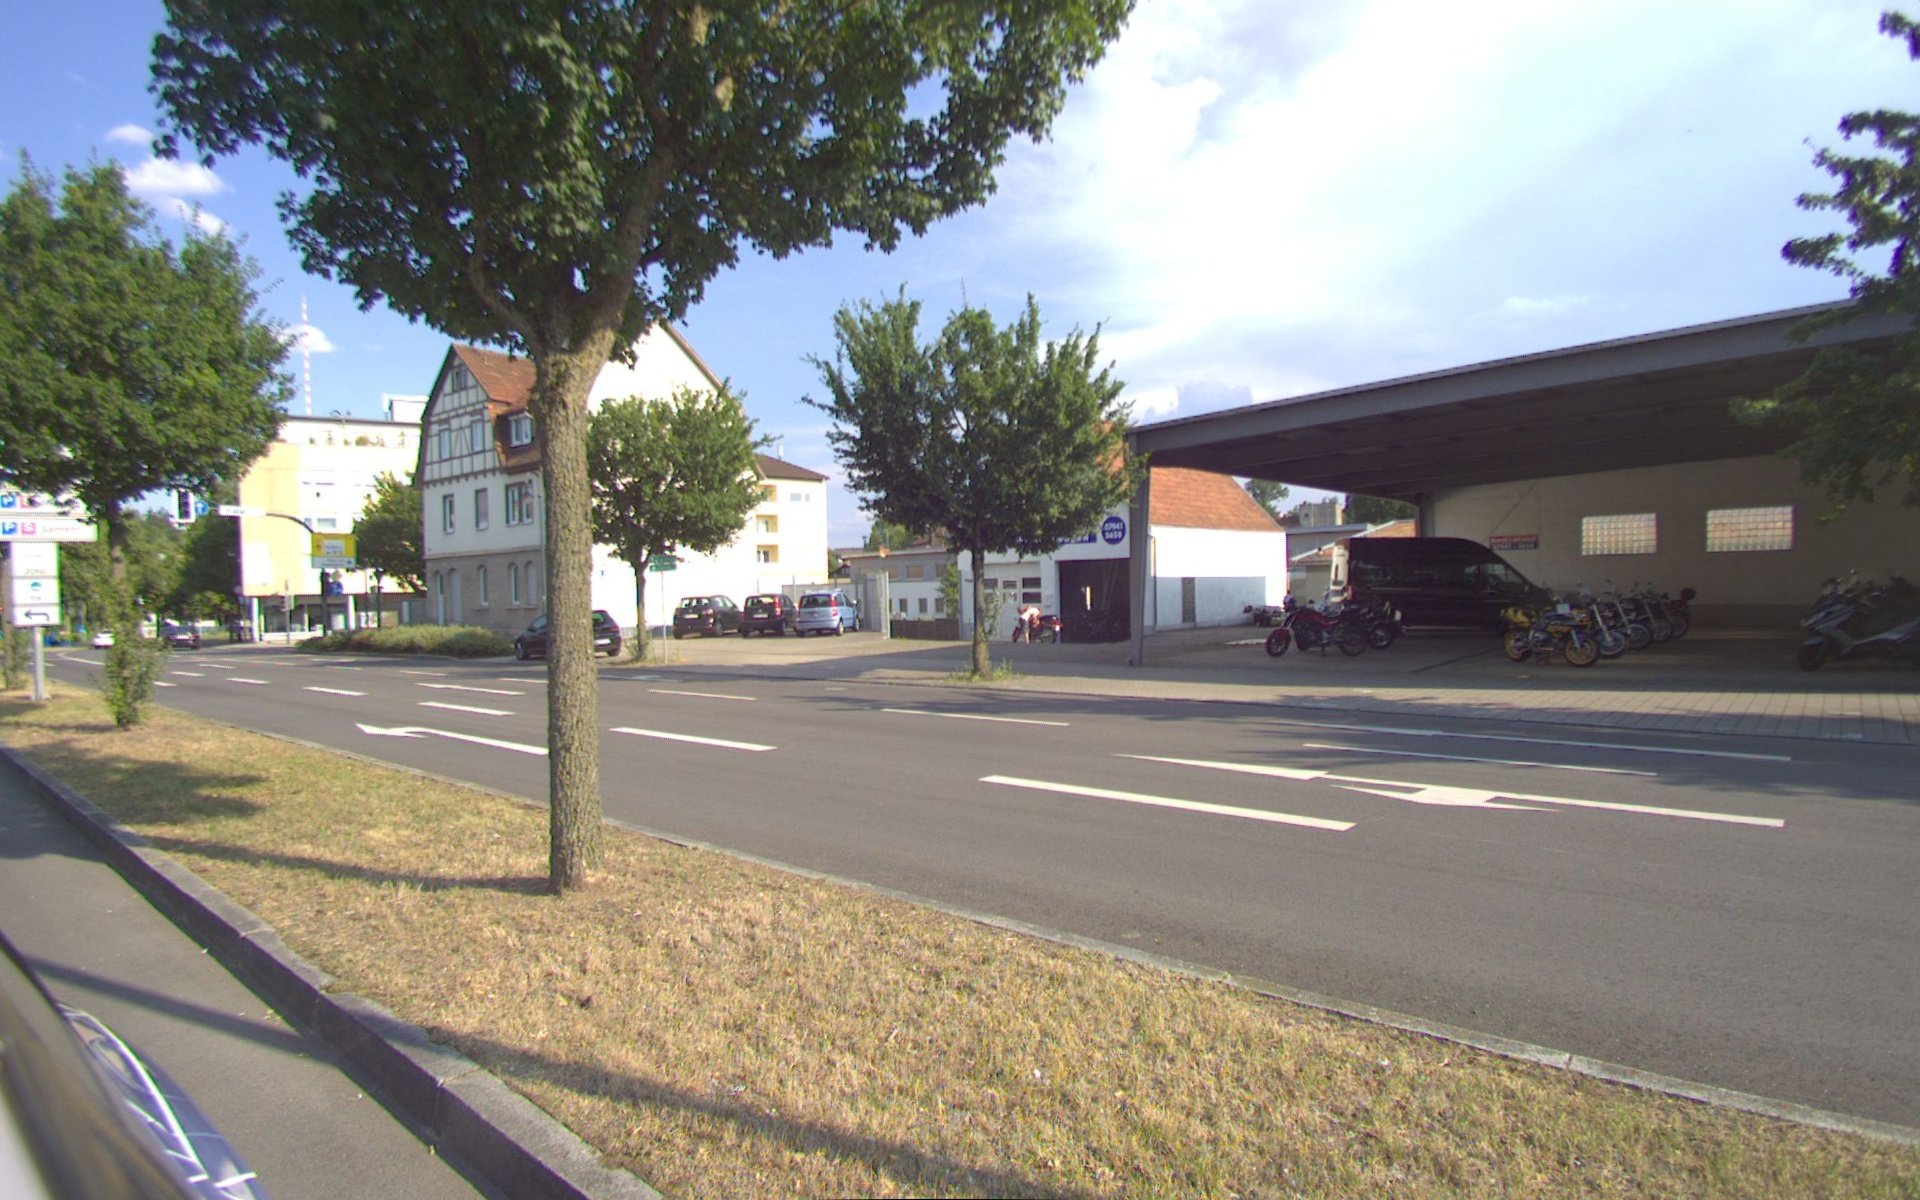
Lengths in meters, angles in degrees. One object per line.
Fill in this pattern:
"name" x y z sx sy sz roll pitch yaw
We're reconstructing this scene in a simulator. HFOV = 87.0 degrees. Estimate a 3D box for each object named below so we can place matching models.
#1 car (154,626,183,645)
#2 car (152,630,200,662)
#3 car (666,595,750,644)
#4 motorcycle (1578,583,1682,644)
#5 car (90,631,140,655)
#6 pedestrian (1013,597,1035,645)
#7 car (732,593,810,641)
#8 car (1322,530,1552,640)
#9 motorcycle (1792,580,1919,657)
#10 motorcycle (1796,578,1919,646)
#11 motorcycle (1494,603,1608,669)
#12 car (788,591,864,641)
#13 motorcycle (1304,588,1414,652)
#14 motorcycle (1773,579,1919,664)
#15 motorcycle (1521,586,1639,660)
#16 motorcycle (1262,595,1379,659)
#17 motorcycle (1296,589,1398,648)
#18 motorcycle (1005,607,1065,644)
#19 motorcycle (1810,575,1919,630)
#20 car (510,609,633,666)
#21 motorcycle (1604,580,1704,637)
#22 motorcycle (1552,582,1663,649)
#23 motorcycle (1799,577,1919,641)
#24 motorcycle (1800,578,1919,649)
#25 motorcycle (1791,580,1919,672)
"car" -74.088 3.307 94.740 1.753 1.706 4.011 -1 0 -33
"car" -45.509 2.632 58.737 1.756 1.706 4.003 -1 0 -44
"car" -9.309 0.686 37.701 1.797 1.512 3.819 -3 2 5
"motorcycle" 15.548 0.299 23.578 0.621 1.347 2.269 -1 0 -9
"car" -59.691 3.010 71.565 1.752 1.480 4.388 -1 0 -27
"pedestrian" 2.084 0.672 32.765 0.485 1.530 0.496 -1 0 41
"car" -6.909 0.582 37.308 1.797 1.512 3.819 -3 2 5
"car" 12.878 -0.381 27.628 5.221 2.773 1.996 -1 0 7
"motorcycle" 16.542 0.337 18.347 2.103 1.306 0.628 -3 -1 18
"motorcycle" 19.046 0.254 21.288 2.103 1.306 0.628 -3 -1 18
"motorcycle" 10.542 0.616 18.151 0.621 1.095 2.038 -1 0 -7
"car" -4.670 0.516 35.678 1.797 1.512 3.819 -3 2 5
"motorcycle" 8.968 0.447 22.804 2.198 1.372 0.630 -1 0 5
"motorcycle" 14.924 0.358 16.775 2.103 1.306 0.628 -3 -1 18
"motorcycle" 12.169 0.434 19.955 0.621 1.347 2.269 -1 0 -9
"motorcycle" 7.508 0.558 21.160 2.202 1.290 0.629 -1 0 11
"motorcycle" 9.390 0.449 24.607 2.198 1.372 0.630 -1 0 5
"motorcycle" 2.446 0.835 33.211 1.974 1.194 0.577 -1 0 41
"motorcycle" 23.746 0.071 26.520 2.103 1.306 0.628 -3 -1 18
"car" -11.588 1.076 30.078 3.823 1.462 1.795 -1 2 42
"motorcycle" 17.302 0.217 25.302 0.621 1.347 2.269 -1 0 -9
"motorcycle" 13.875 0.321 21.768 0.621 1.347 2.269 -1 0 -9
"motorcycle" 20.240 0.204 22.643 2.103 1.306 0.628 -3 -1 18
"motorcycle" 18.056 0.267 19.987 2.103 1.306 0.628 -3 -1 18
"motorcycle" 13.872 0.372 15.115 2.103 1.306 0.628 -3 -1 18
